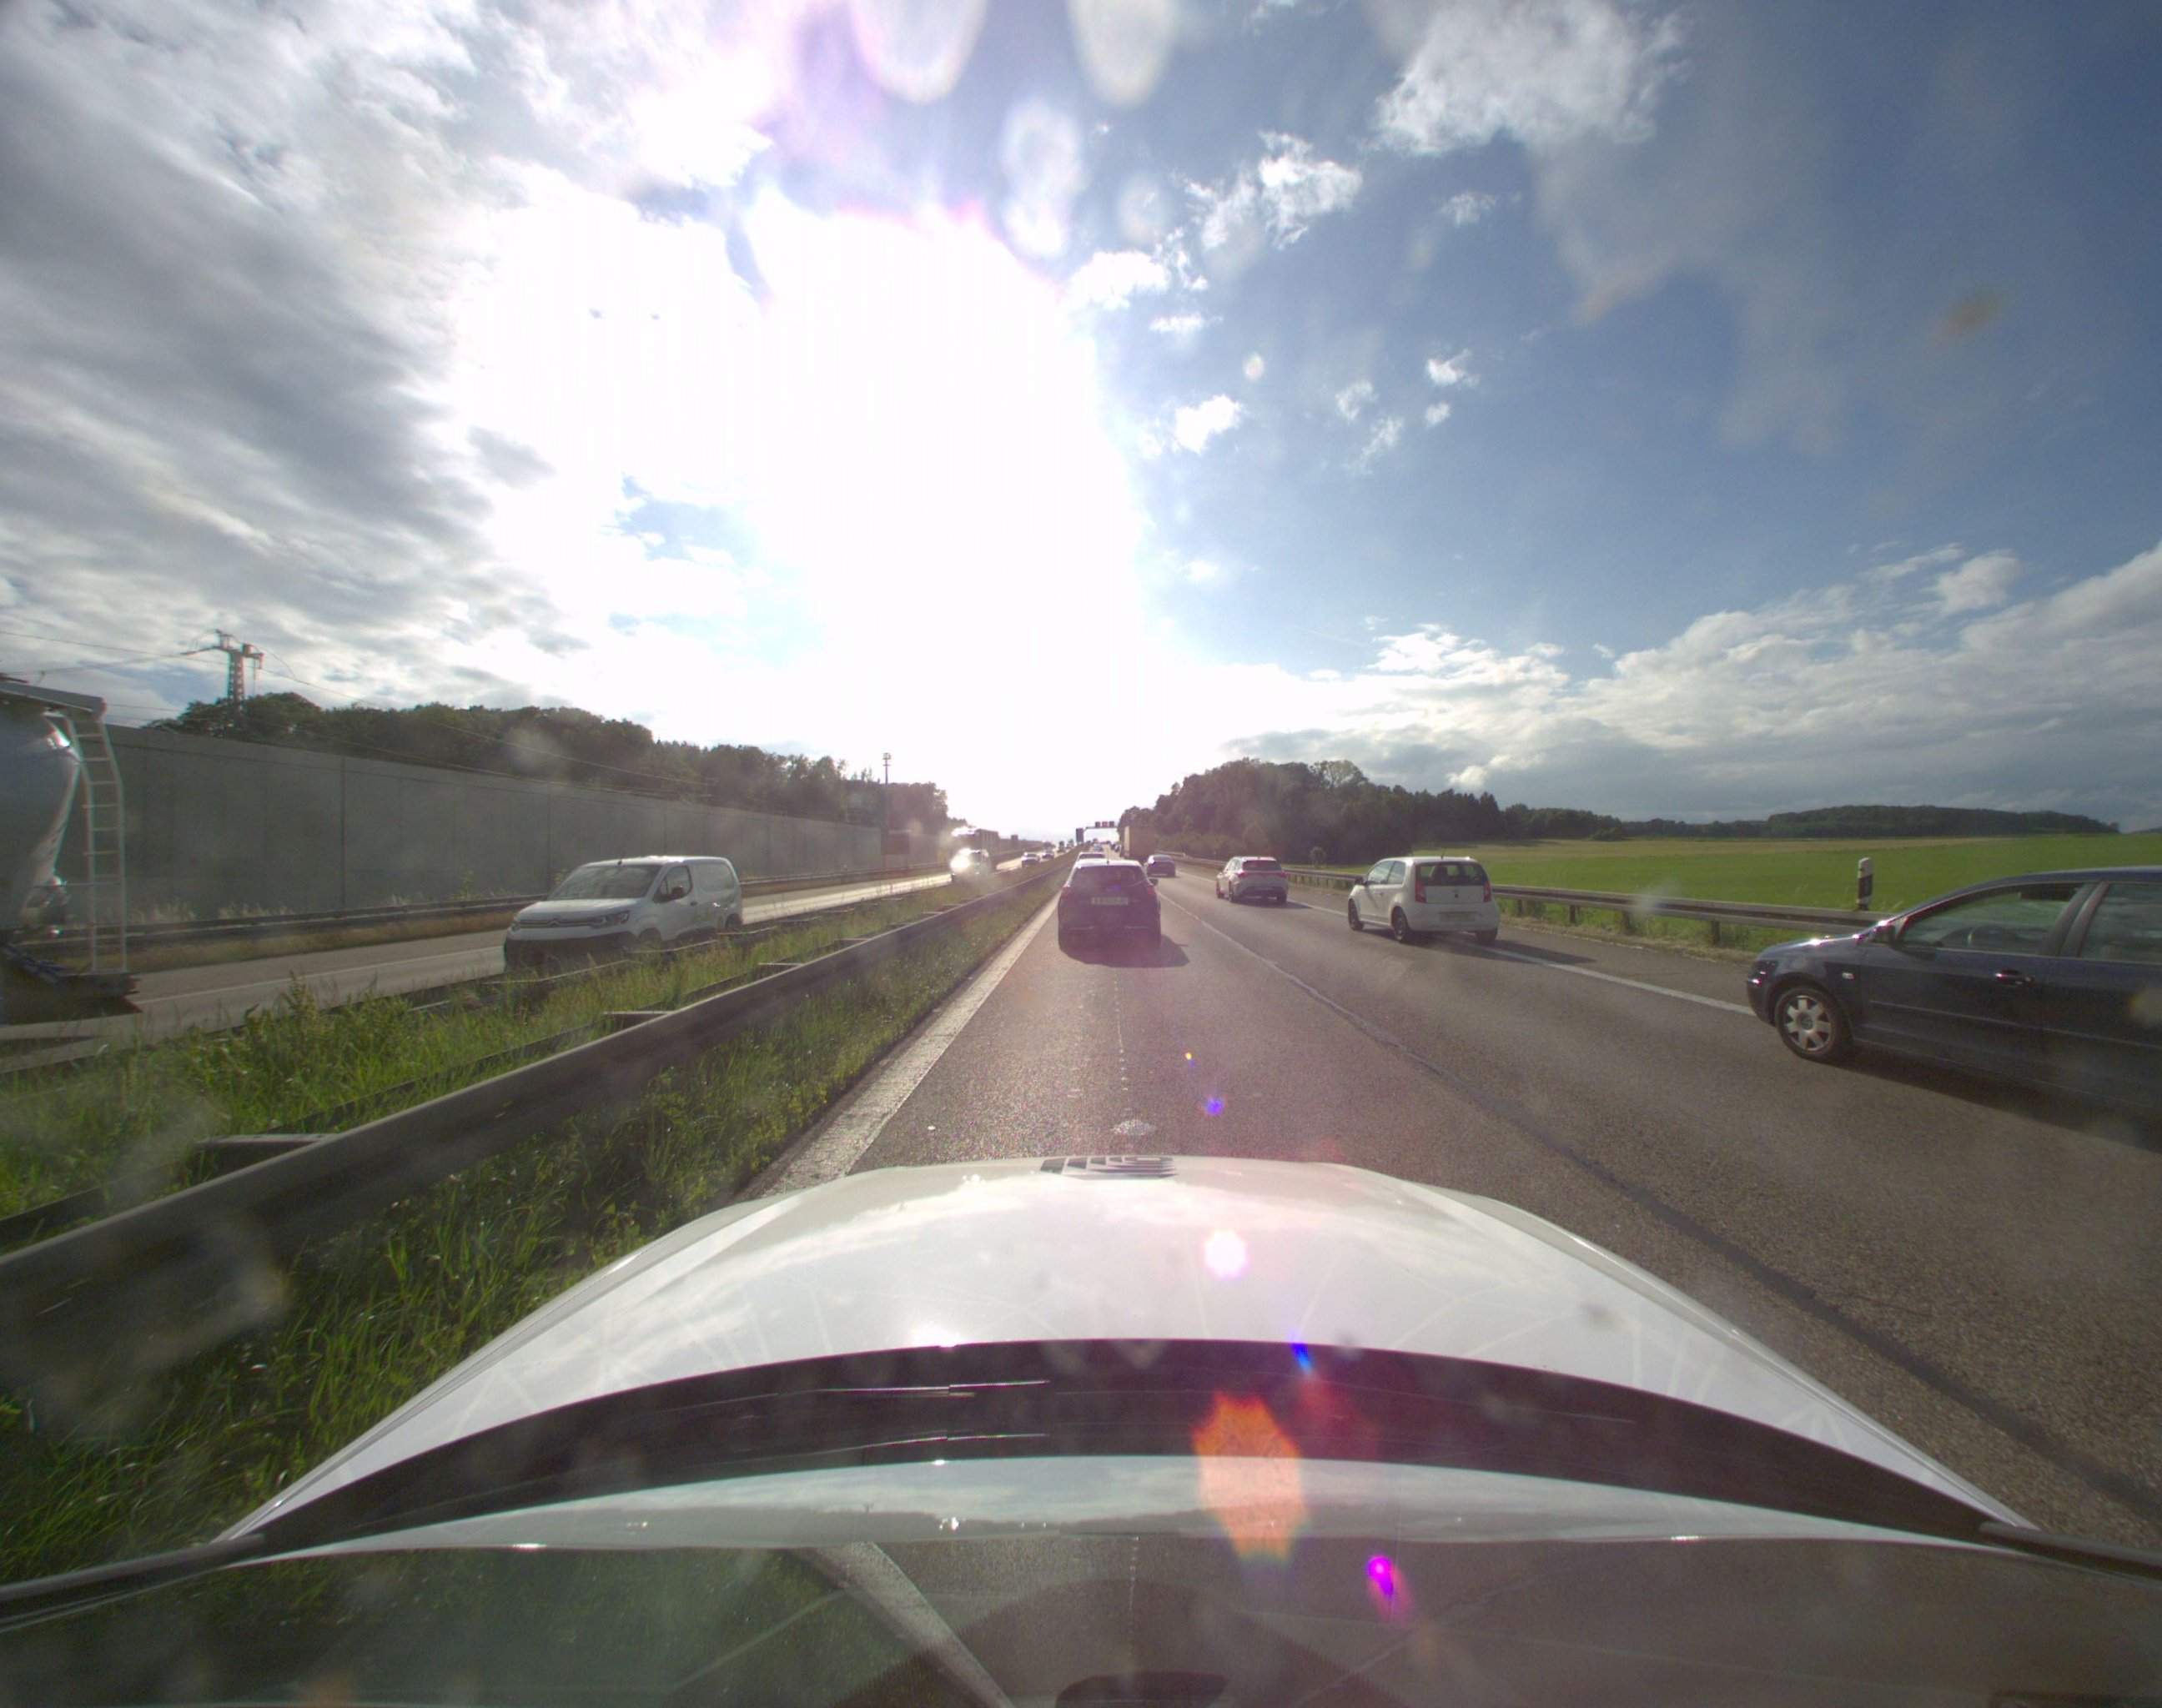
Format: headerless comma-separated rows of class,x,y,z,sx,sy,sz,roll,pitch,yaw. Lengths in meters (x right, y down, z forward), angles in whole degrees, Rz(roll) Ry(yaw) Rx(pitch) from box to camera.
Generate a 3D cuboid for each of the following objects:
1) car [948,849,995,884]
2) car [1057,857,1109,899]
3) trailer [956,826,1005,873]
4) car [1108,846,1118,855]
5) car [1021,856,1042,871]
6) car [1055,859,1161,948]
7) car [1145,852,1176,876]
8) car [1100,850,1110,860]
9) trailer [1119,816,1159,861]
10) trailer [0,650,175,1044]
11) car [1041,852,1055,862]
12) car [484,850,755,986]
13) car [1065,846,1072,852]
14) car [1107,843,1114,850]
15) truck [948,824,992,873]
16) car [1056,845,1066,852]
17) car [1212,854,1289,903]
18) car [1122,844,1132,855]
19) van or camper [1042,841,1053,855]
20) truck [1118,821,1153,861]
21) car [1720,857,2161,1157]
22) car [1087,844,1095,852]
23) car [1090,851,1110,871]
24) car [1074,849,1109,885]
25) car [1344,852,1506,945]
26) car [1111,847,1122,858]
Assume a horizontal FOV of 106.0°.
car,-6.595,0.758,49.380,1.986,1.883,4.788,-3,-1,1
car,0.116,0.816,28.619,1.667,1.367,3.598,-1,-1,2
trailer,-9.621,-0.334,79.206,2.749,4.115,12.907,-1,-1,1
car,7.281,-0.876,185.533,1.987,2.014,4.000,0,-1,0
car,-5.522,1.066,91.445,1.881,1.632,5.111,0,-1,1
car,0.516,0.827,14.839,1.703,1.426,3.380,-1,-1,3
car,5.152,0.658,53.082,1.740,1.475,4.149,-1,-1,2
car,4.188,0.152,143.110,1.660,1.755,3.329,0,-1,3
trailer,6.105,-1.461,87.268,3.536,4.457,12.722,0,-1,1
trailer,-11.690,-0.078,2.950,2.531,3.771,12.542,-3,-1,1
car,-5.276,0.482,130.497,1.895,1.464,4.184,0,-1,1
car,-7.140,0.896,13.232,1.853,1.834,4.282,0,-1,2
car,-3.406,-1.460,223.655,1.987,1.593,4.448,0,-1,0
car,8.091,-2.059,224.316,1.987,2.014,4.000,0,-1,0
truck,-9.806,-0.438,72.752,2.744,4.090,6.955,-1,-1,1
car,-4.152,-1.102,173.135,1.987,1.433,4.448,0,-1,0
car,5.425,0.752,26.469,1.615,1.445,4.146,0,-1,0
car,7.399,-0.713,130.619,1.660,1.755,3.329,0,-1,3
van or camper,-8.021,-1.416,194.586,2.218,3.079,6.513,0,-1,0
truck,6.217,-1.390,94.050,3.570,4.380,6.688,0,-1,0
car,6.054,0.741,4.717,1.705,1.445,3.772,0,-1,-1
car,2.507,-1.447,203.817,1.987,2.014,4.000,0,-1,0
car,2.007,0.751,86.897,1.987,2.014,4.000,0,-1,0
car,0.581,0.670,41.502,1.667,1.726,3.598,-1,-1,2
car,6.124,0.722,14.895,1.544,1.495,3.377,0,0,0
car,7.203,-0.287,164.666,1.987,2.014,4.000,0,-1,0
